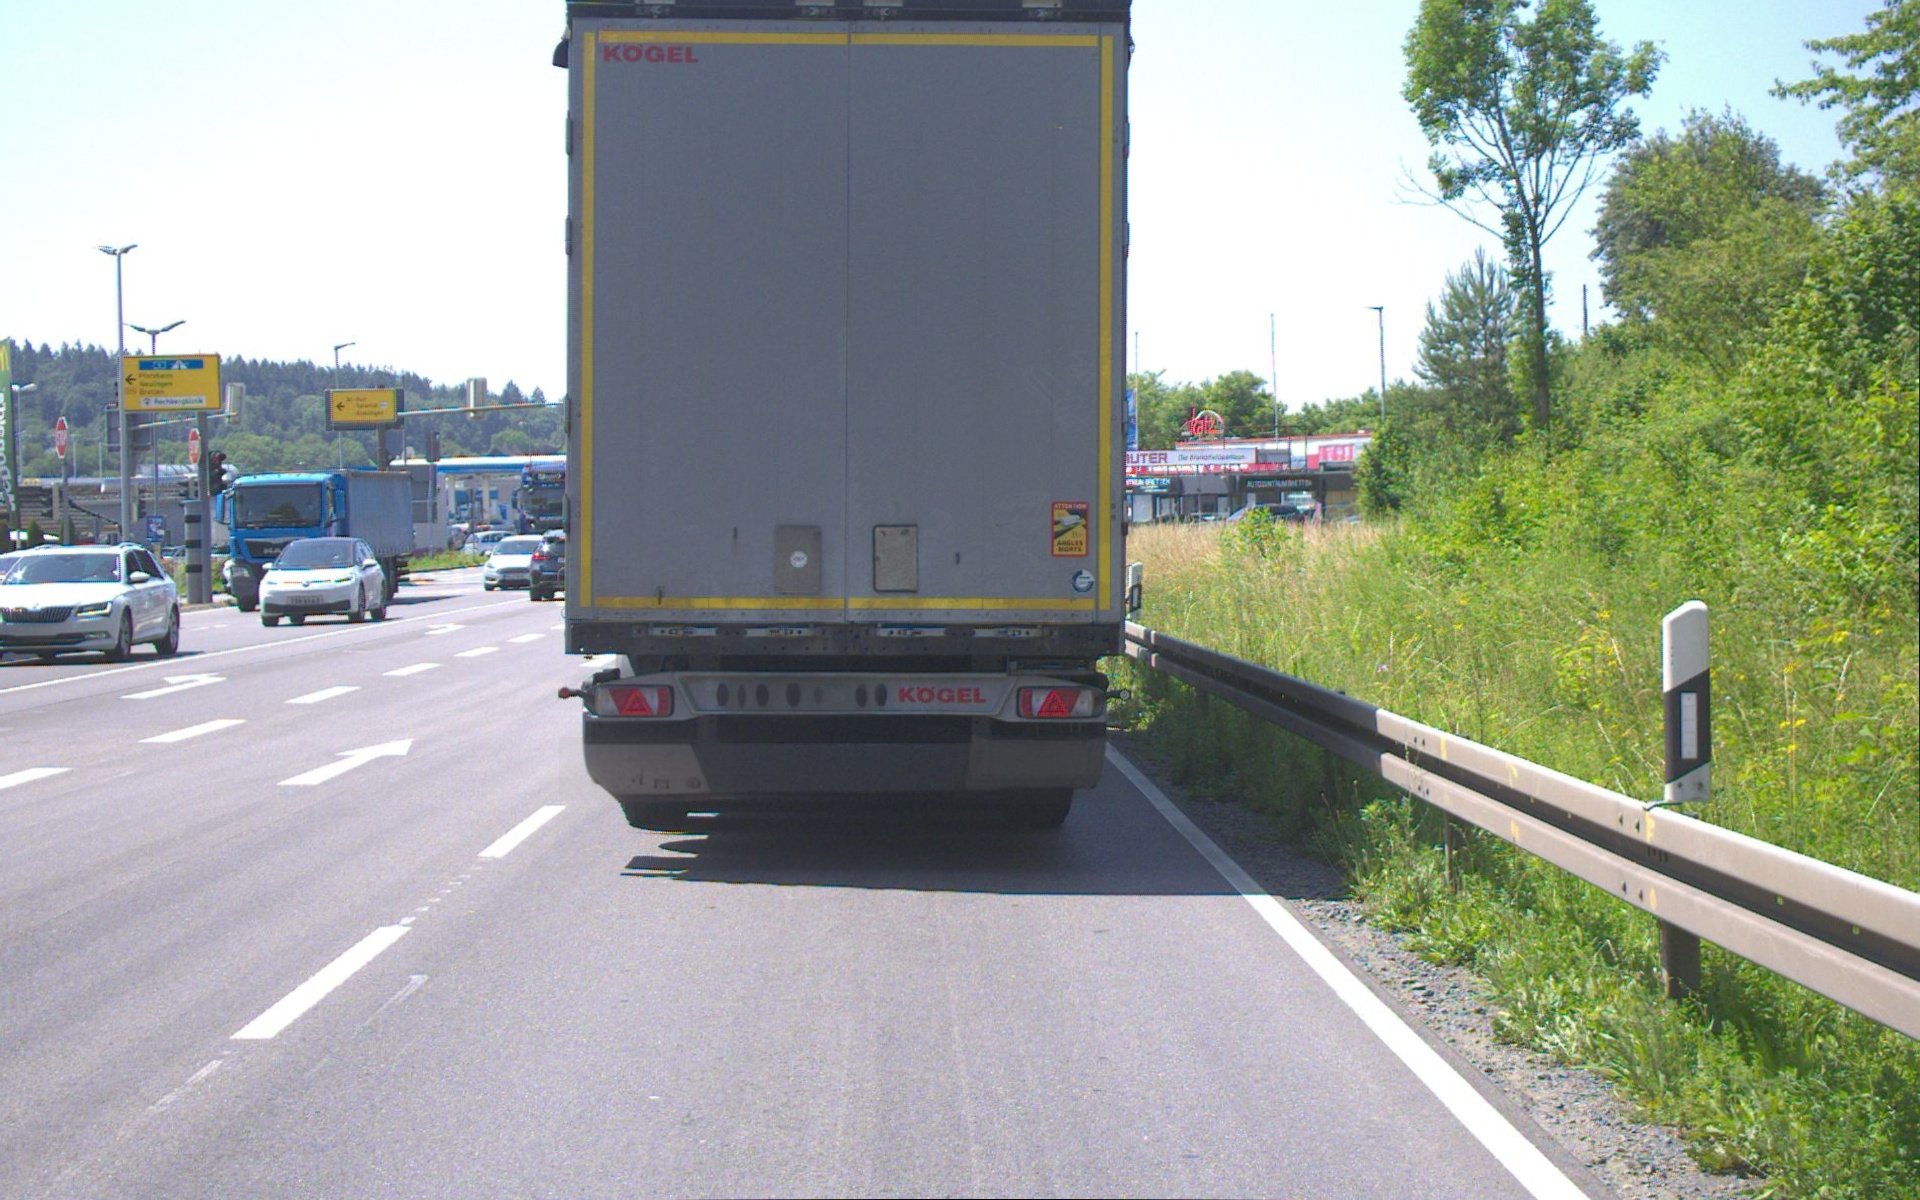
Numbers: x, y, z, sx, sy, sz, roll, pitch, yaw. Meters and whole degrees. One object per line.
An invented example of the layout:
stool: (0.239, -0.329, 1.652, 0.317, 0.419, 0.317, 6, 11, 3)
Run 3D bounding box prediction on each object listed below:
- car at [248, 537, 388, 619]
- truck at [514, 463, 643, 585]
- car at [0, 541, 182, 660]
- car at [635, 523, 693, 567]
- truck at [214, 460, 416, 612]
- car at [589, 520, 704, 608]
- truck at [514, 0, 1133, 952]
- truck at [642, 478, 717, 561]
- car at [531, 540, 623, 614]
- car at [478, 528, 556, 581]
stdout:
car: (-11.659, -0.423, 62.646, 1.761, 1.423, 4.180, -1, 1, 0)
truck: (-14.651, -2.983, 133.539, 3.146, 4.334, 17.544, -2, 2, -1)
car: (-11.161, -0.025, 43.535, 1.700, 1.410, 4.563, -1, 1, -2)
car: (-11.033, -2.042, 128.217, 1.740, 1.498, 4.406, -2, 0, 0)
truck: (-15.270, -1.512, 82.288, 2.846, 3.340, 11.483, -1, 1, -1)
car: (-6.107, -0.724, 67.390, 1.804, 1.664, 4.292, 0, 1, 1)
truck: (-0.836, -0.770, 23.740, 2.755, 4.623, 16.656, 0, 0, -2)
truck: (-14.067, -4.020, 173.467, 2.934, 3.936, 14.239, -1, 1, -1)
car: (-8.813, -0.551, 79.284, 1.793, 1.621, 4.370, -1, 1, -2)
car: (-12.147, -1.263, 94.399, 1.789, 1.422, 4.264, 0, 1, -3)
